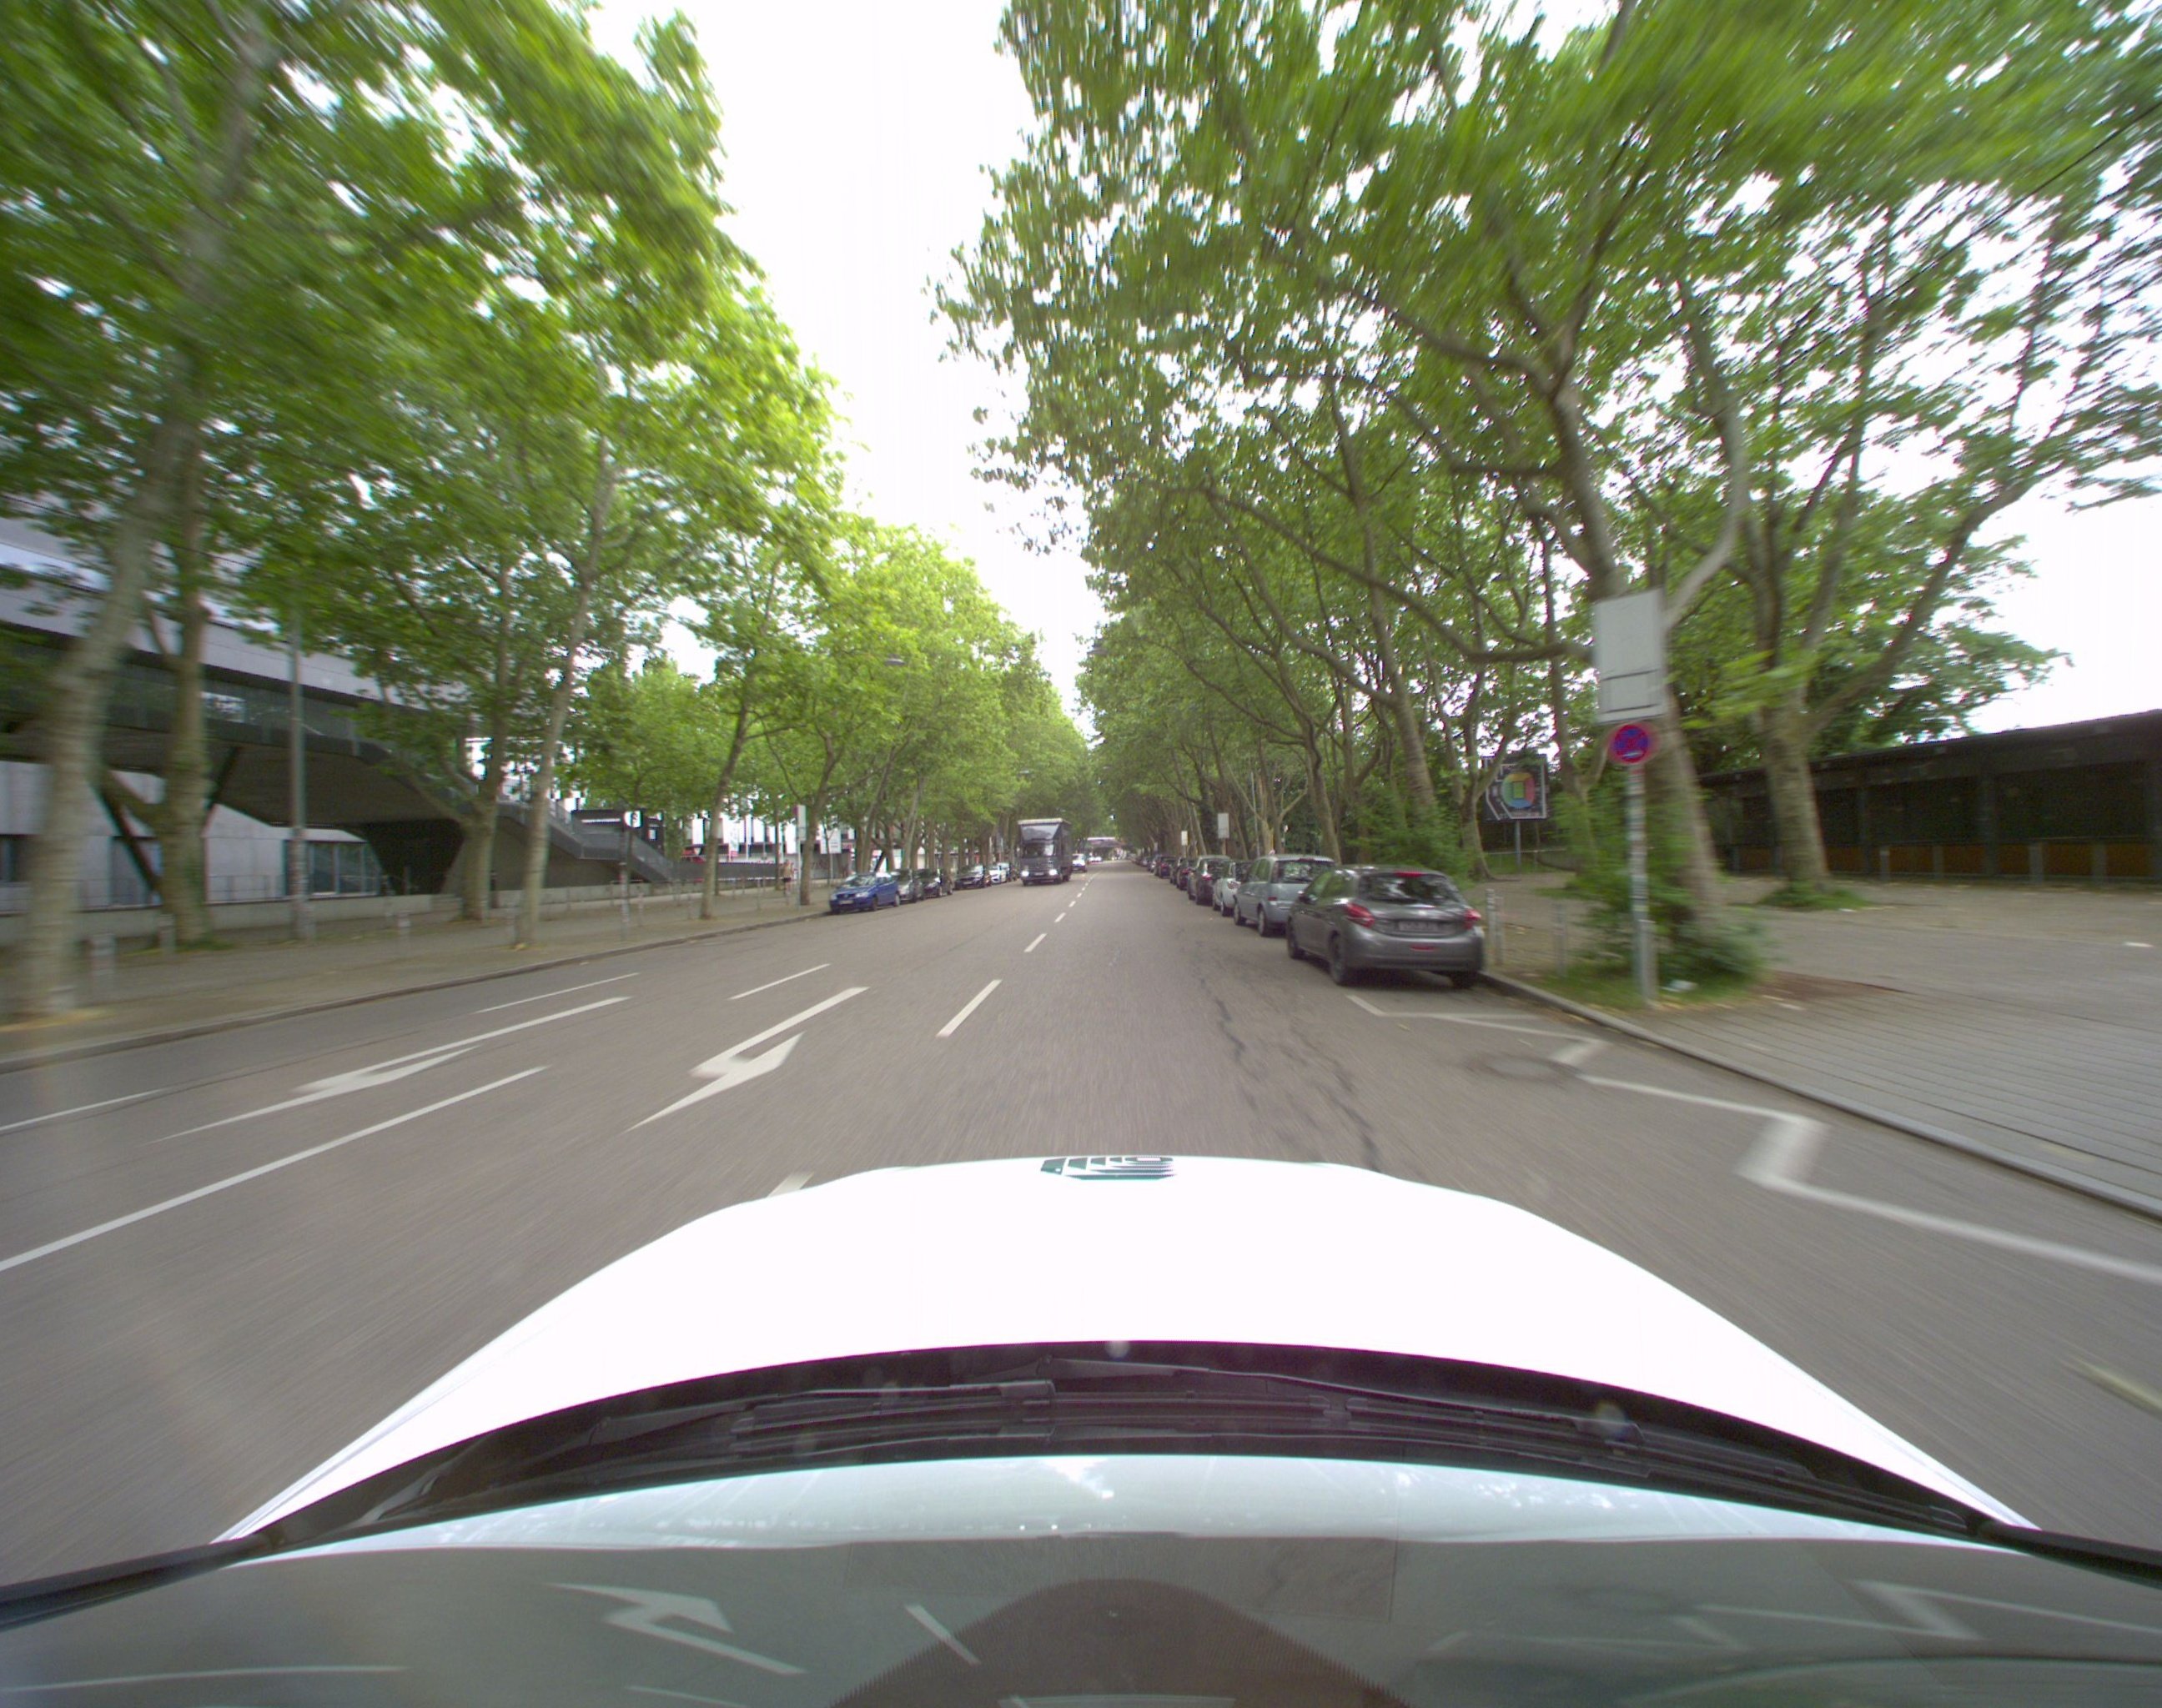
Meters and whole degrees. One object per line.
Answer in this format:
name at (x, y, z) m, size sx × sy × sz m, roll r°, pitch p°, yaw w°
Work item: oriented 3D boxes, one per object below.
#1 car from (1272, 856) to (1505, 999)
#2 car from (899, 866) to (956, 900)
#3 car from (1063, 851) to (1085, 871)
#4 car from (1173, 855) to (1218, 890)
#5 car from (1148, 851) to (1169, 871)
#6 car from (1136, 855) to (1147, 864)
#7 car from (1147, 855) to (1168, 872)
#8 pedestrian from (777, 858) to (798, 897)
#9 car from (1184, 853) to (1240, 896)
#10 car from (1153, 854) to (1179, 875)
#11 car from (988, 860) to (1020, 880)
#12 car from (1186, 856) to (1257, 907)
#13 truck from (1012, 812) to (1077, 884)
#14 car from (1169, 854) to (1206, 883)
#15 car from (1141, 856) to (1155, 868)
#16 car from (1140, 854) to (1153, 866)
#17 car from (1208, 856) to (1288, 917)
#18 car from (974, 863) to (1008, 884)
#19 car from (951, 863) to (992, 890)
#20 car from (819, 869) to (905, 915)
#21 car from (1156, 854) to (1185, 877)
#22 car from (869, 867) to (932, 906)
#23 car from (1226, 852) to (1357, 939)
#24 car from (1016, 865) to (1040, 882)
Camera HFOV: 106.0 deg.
car at (3.951, 0.821, 11.303) m, size 1.692 × 1.519 × 4.457 m, roll 2°, pitch 0°, yaw 2°
car at (-7.365, 1.365, 39.391) m, size 1.759 × 1.418 × 3.763 m, roll -5°, pitch -1°, yaw 2°
car at (-0.674, 0.723, 84.562) m, size 1.972 × 1.934 × 4.115 m, roll -2°, pitch 0°, yaw 2°
car at (5.344, 0.832, 38.349) m, size 1.749 × 1.534 × 3.931 m, roll 0°, pitch 0°, yaw 2°
car at (8.011, 0.729, 84.436) m, size 1.749 × 1.815 × 3.932 m, roll -6°, pitch 0°, yaw 2°
car at (10.400, 1.011, 140.557) m, size 1.749 × 1.534 × 3.931 m, roll 0°, pitch 0°, yaw 2°
car at (7.242, 0.919, 77.211) m, size 1.749 × 1.534 × 3.931 m, roll 0°, pitch 0°, yaw 2°
pedestrian at (-14.415, 1.139, 39.974) m, size 0.775 × 1.835 × 0.870 m, roll -1°, pitch -1°, yaw -32°
car at (5.163, 0.792, 32.533) m, size 1.749 × 1.597 × 3.931 m, roll 0°, pitch 0°, yaw 2°
car at (6.627, 0.781, 63.531) m, size 1.749 × 1.534 × 3.931 m, roll -2°, pitch 0°, yaw 2°
car at (-5.868, 1.243, 62.350) m, size 1.888 × 1.438 × 4.000 m, roll -3°, pitch -2°, yaw 1°
car at (4.564, 0.856, 27.087) m, size 1.749 × 1.490 × 4.419 m, roll 2°, pitch 0°, yaw 2°
truck at (-2.110, -0.317, 51.030) m, size 2.629 × 3.901 × 9.553 m, roll -3°, pitch -1°, yaw 5°
car at (5.910, 0.814, 45.553) m, size 1.749 × 1.534 × 3.931 m, roll 0°, pitch 0°, yaw 2°
car at (9.333, 1.062, 113.474) m, size 1.749 × 1.534 × 3.931 m, roll -3°, pitch -1°, yaw 2°
car at (9.528, 0.869, 118.683) m, size 1.749 × 1.534 × 3.931 m, roll -3°, pitch -1°, yaw 2°
car at (4.491, 0.837, 22.366) m, size 1.668 × 1.490 × 3.691 m, roll 2°, pitch 0°, yaw 4°
car at (-6.223, 1.375, 56.639) m, size 1.726 × 1.332 × 4.001 m, roll -3°, pitch -2°, yaw 2°
car at (-6.612, 1.353, 49.441) m, size 1.759 × 1.418 × 3.763 m, roll -5°, pitch -1°, yaw 2°
car at (-7.966, 1.349, 29.978) m, size 1.686 × 1.418 × 3.768 m, roll -5°, pitch -1°, yaw 7°
car at (6.306, 0.796, 57.613) m, size 1.749 × 1.534 × 3.931 m, roll 0°, pitch 0°, yaw 2°
car at (-7.634, 1.347, 34.745) m, size 1.760 × 1.418 × 3.760 m, roll -5°, pitch -1°, yaw -1°
car at (4.294, 0.780, 17.246) m, size 1.713 × 1.567 × 4.094 m, roll 2°, pitch 0°, yaw 1°
car at (-4.946, 1.864, 76.679) m, size 1.888 × 1.438 × 4.000 m, roll -3°, pitch -2°, yaw 1°
